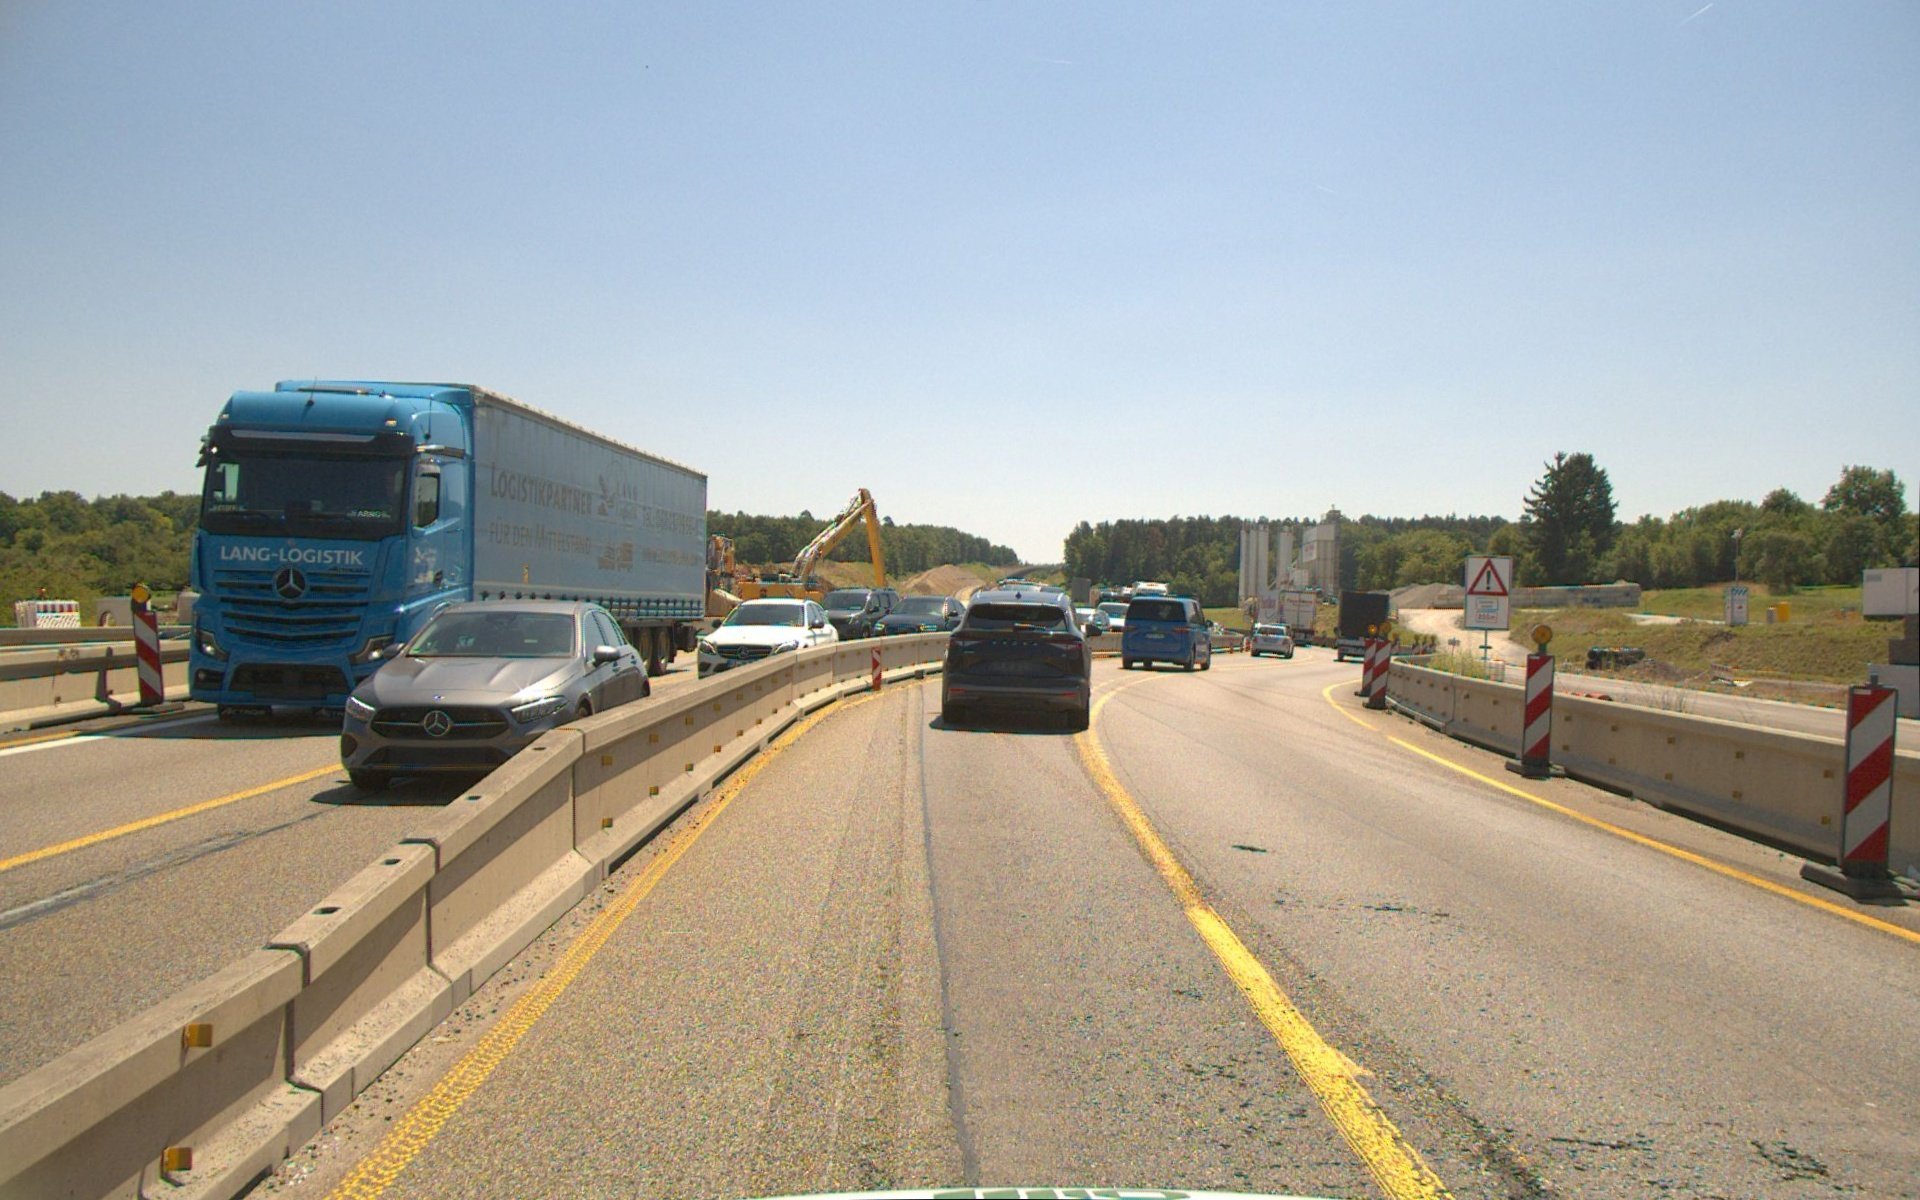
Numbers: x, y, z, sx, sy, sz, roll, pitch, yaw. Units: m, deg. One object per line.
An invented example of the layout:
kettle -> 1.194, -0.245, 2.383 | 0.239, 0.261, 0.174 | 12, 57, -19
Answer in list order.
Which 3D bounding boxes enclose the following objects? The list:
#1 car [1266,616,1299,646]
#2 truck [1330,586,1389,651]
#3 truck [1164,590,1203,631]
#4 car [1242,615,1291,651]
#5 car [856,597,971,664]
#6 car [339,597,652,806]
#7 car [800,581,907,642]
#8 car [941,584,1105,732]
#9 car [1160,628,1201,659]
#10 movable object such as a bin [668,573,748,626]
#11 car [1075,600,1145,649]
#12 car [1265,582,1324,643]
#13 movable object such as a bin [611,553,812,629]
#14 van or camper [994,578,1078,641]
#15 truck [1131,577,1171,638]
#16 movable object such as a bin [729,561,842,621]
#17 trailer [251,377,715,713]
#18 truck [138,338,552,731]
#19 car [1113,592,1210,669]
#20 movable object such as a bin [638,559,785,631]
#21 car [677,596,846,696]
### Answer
car -> 19.549, 1.879, 100.429 | 1.782, 1.673, 3.868 | 3, 0, 10
truck -> 19.475, 0.898, 80.814 | 2.616, 2.997, 5.625 | 1, 0, 12
truck -> 26.187, 1.124, 194.201 | 3.405, 4.292, 10.381 | 6, 1, 4
car -> 14.134, 1.490, 76.095 | 2.002, 1.553, 5.070 | 1, 0, 12
car -> -1.130, 0.755, 42.546 | 1.730, 1.636, 4.713 | 0, 0, 14
car -> -3.707, 0.720, 13.912 | 1.557, 1.466, 4.124 | 0, 0, -1
car -> -3.229, 0.338, 51.065 | 1.738, 1.796, 4.712 | 0, 0, 17
car -> 0.699, 0.650, 21.024 | 1.805, 1.609, 4.000 | 3, 1, -1
car -> 11.469, 2.250, 85.856 | 1.689, 1.432, 4.132 | 3, 0, 13
movable object such as a bin -> -15.415, -0.055, 101.475 | 3.586, 3.078, 4.997 | 1, 1, 7
car -> 6.355, 1.056, 69.497 | 1.833, 1.905, 5.060 | 3, -1, 17
car -> 25.544, 0.956, 126.550 | 3.365, 4.171, 9.203 | 5, 0, 7
movable object such as a bin -> -10.314, -0.393, 68.350 | 7.775, 2.474, 3.704 | 5, 0, 36
van or camper -> 3.371, 0.416, 71.491 | 2.054, 2.586, 6.308 | 1, -1, 17
truck -> 14.324, 0.568, 124.215 | 2.712, 4.334, 6.203 | 2, 0, 5
movable object such as a bin -> -8.227, -0.378, 78.553 | 3.224, 2.482, 5.441 | 5, 1, 18
trailer -> -7.042, -0.760, 27.736 | 2.853, 4.201, 13.924 | 0, 1, 4
truck -> -7.357, -0.734, 20.802 | 2.854, 4.201, 6.139 | 0, 0, 1
car -> 5.466, 0.791, 44.411 | 1.951, 1.876, 4.003 | 3, 0, 15
movable object such as a bin -> -11.285, -0.232, 75.026 | 5.934, 2.811, 2.808 | 4, 0, 27
car -> -3.345, 0.723, 28.812 | 1.973, 1.469, 4.591 | 1, 2, 6
